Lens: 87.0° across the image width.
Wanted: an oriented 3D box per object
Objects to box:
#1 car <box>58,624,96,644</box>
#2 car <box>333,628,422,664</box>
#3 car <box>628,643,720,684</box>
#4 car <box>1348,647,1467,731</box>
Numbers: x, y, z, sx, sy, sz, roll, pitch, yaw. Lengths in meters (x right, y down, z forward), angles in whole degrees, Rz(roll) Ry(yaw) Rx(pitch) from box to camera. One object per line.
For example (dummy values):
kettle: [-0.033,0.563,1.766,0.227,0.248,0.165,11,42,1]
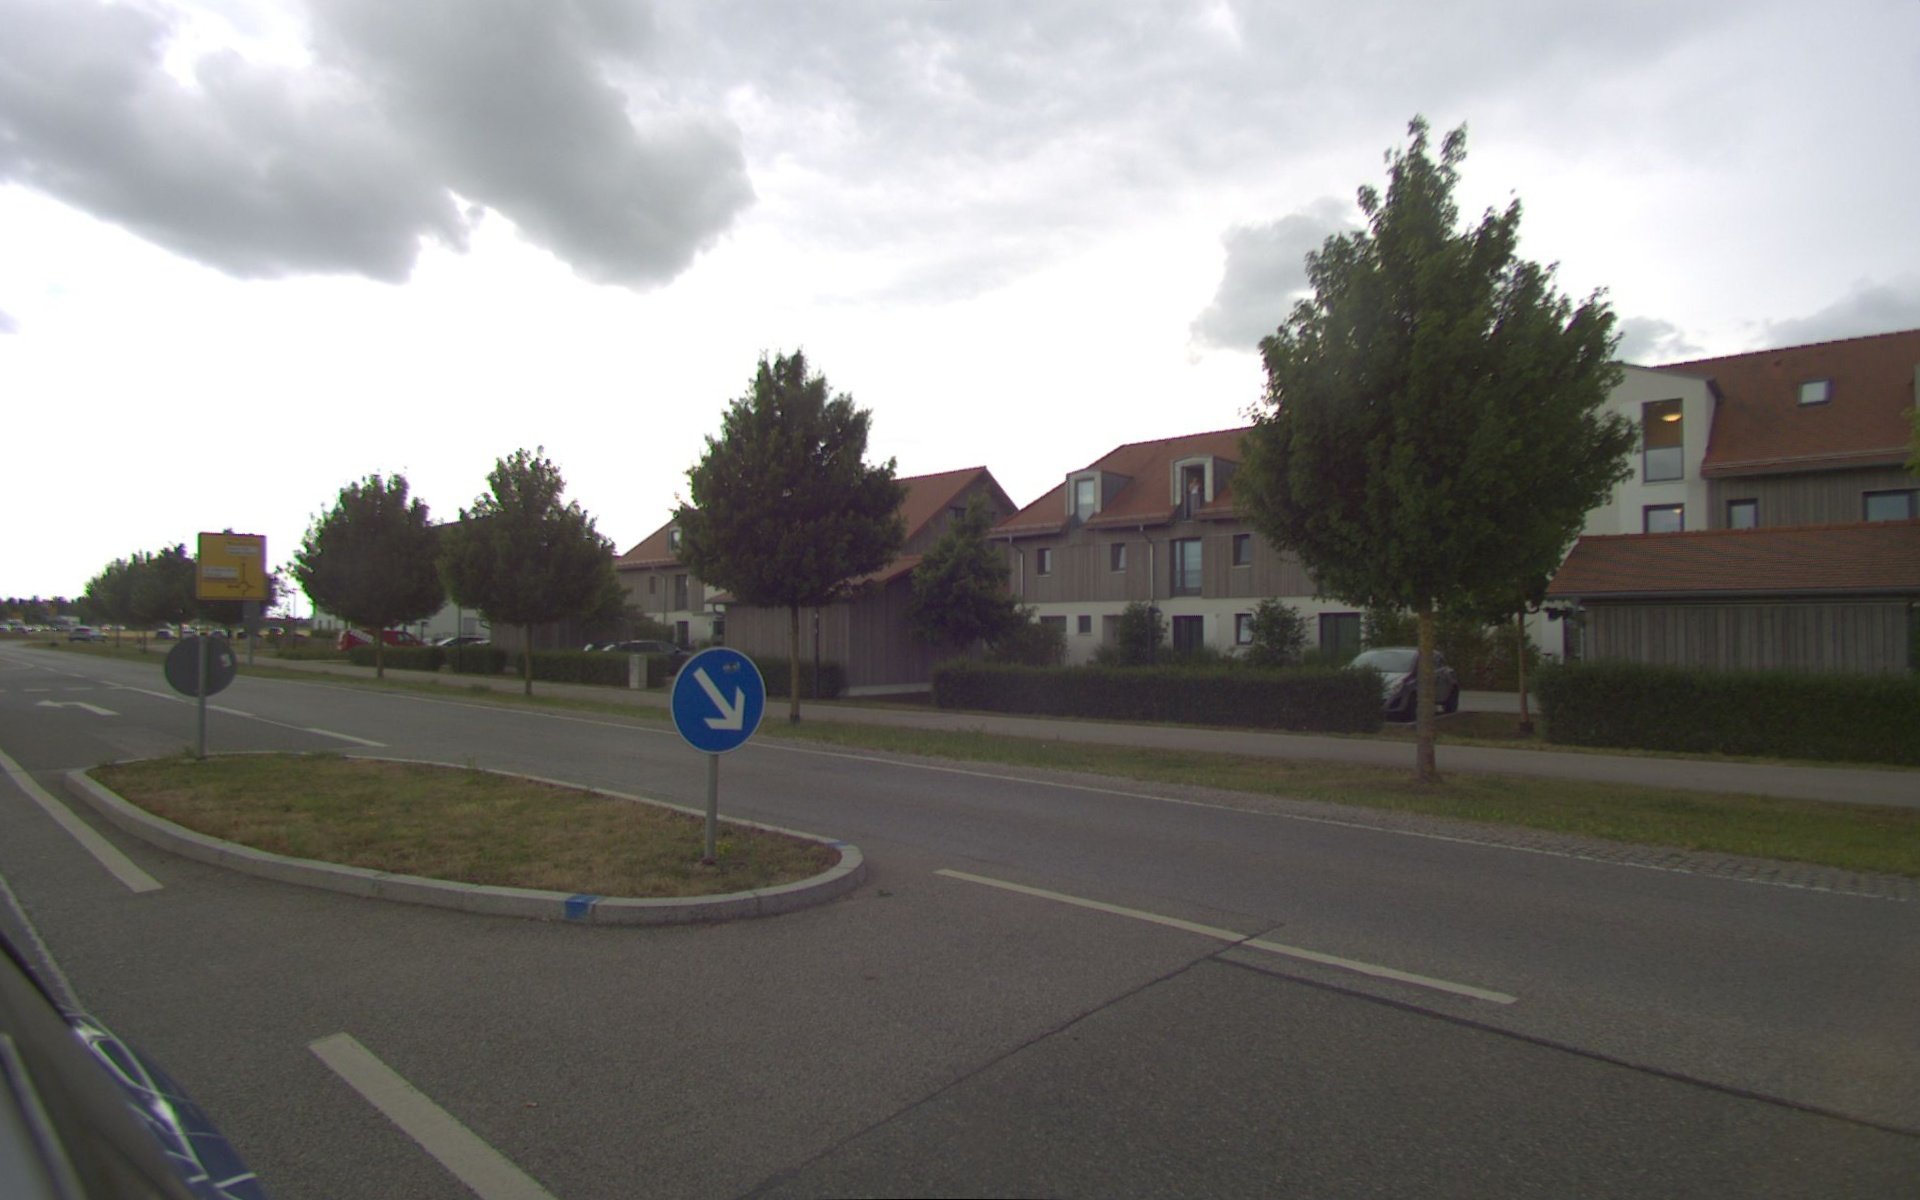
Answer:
car: [-83.189,3.179,95.402,1.966,1.796,4.012,-1,0,-30]
car: [-36.824,2.880,64.032,4.505,2.029,2.002,-1,0,-44]
car: [-11.799,2.592,41.879,1.300,1.450,3.546,-1,0,41]
car: [9.539,1.811,21.448,1.300,1.450,3.546,-1,0,41]
